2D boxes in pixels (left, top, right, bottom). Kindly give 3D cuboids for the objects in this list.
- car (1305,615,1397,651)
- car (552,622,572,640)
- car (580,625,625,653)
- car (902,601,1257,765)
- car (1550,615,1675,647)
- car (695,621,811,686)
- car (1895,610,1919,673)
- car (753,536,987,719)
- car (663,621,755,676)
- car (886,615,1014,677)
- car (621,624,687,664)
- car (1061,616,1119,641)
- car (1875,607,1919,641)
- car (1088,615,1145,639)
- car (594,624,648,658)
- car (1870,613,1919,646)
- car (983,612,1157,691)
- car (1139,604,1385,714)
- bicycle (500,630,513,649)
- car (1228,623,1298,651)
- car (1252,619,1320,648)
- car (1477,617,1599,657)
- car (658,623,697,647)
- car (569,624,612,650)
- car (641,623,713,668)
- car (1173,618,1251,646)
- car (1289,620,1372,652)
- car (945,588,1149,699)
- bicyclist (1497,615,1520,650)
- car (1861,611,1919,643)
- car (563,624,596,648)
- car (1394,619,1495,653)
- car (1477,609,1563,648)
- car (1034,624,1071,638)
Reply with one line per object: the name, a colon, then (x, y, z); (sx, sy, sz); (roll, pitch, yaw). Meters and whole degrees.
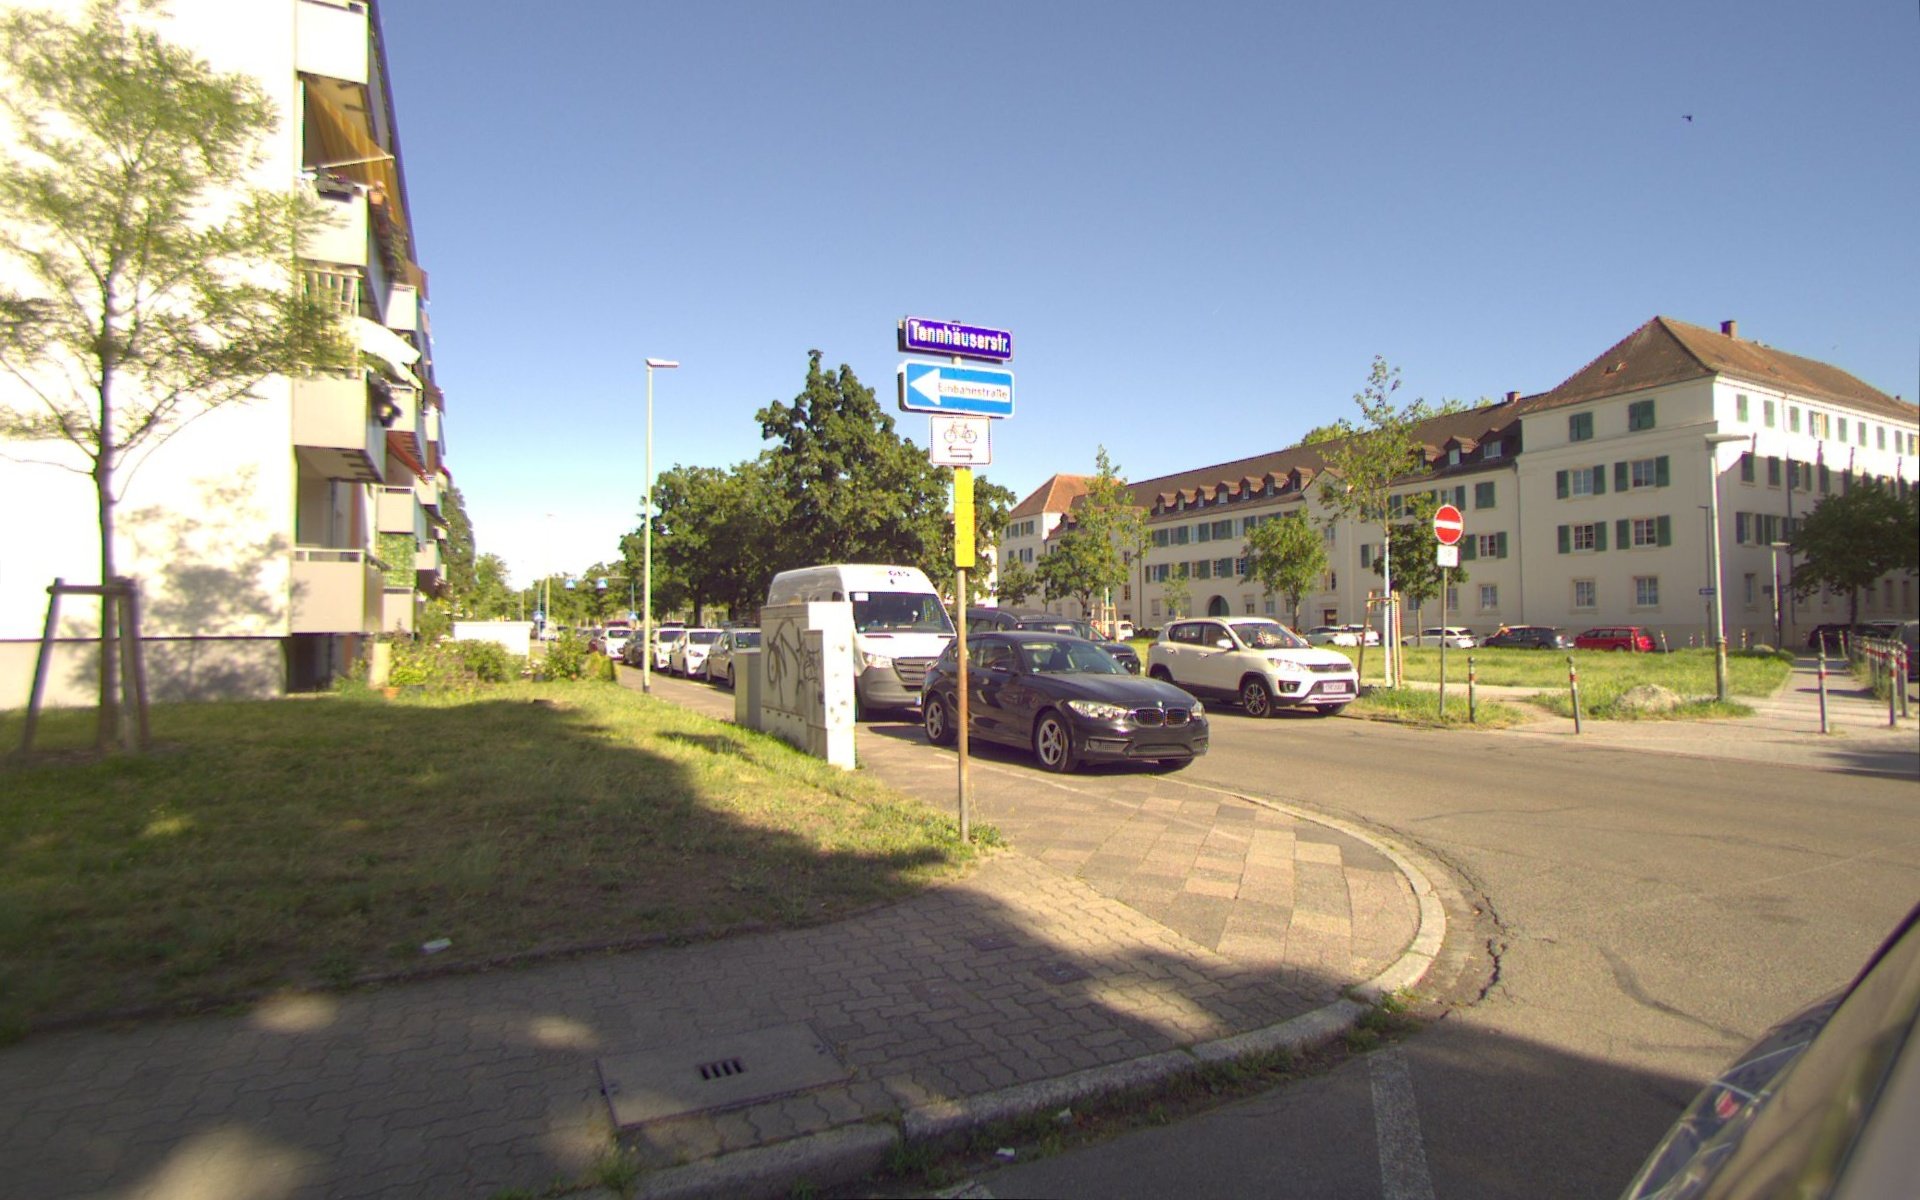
car: (25.634, 2.142, 66.553); (2.487, 2.245, 5.263); (0, -2, -28)
car: (-42.978, 3.331, 109.187); (1.752, 1.935, 4.633); (0, -2, -25)
car: (-20.402, 2.171, 57.636); (1.811, 1.492, 5.071); (0, -1, -27)
car: (1.117, 0.844, 11.749); (1.924, 1.501, 4.504); (2, -2, -27)
car: (32.916, 1.559, 51.217); (1.959, 1.504, 4.964); (1, -2, -27)
car: (-5.395, 1.324, 25.969); (1.817, 1.485, 4.206); (-1, -1, -27)
car: (26.402, 1.088, 26.928); (1.919, 1.597, 4.285); (-2, -2, 39)
car: (-1.967, 0.527, 18.790); (2.105, 2.748, 6.851); (2, -2, -25)
car: (-7.547, 1.395, 30.142); (1.845, 1.494, 4.145); (0, -2, -26)
car: (-0.387, 1.280, 29.085); (1.788, 1.631, 4.745); (2, -2, -26)
car: (-12.130, 1.709, 39.940); (1.670, 1.454, 4.476); (2, -2, -27)
car: (10.764, 2.334, 84.081); (2.182, 2.010, 5.264); (0, -2, -26)
car: (49.389, 1.206, 51.187); (1.672, 1.723, 4.246); (0, -2, -29)
car: (13.821, 2.387, 89.747); (2.182, 2.010, 5.263); (0, -2, -28)
car: (-16.001, 1.879, 47.612); (1.718, 1.518, 3.864); (1, -2, -29)
car: (45.577, 1.360, 47.641); (1.678, 1.541, 3.671); (0, -2, -27)
car: (2.419, 1.152, 23.673); (1.810, 1.660, 4.721); (2, -2, -26)
car: (5.095, 0.978, 17.717); (1.725, 1.668, 4.293); (2, -2, -25)
bicycle: (-26.303, 2.265, 58.660); (0.707, 1.091, 1.899); (0, -1, -25)
car: (19.692, 2.380, 65.902); (2.277, 1.773, 4.014); (0, -2, -25)
car: (22.993, 2.370, 71.552); (2.224, 1.929, 4.171); (0, -2, -27)
car: (27.946, 1.759, 49.094); (2.121, 1.844, 4.710); (0, -2, -28)
car: (-18.583, 2.272, 66.478); (1.847, 1.437, 3.809); (1, -1, -25)
car: (-22.958, 2.260, 62.763); (1.841, 1.553, 4.497); (0, -2, -29)
car: (-9.834, 1.536, 35.014); (1.691, 1.454, 4.158); (1, -2, -26)
car: (17.455, 2.234, 70.456); (2.407, 1.844, 5.461); (0, -1, -25)
car: (22.214, 2.128, 60.807); (2.197, 1.844, 4.262); (0, -2, -28)
car: (1.466, 0.771, 18.783); (1.865, 1.813, 4.161); (0, -2, -27)
bicyclist: (29.410, 1.727, 54.227); (0.661, 1.826, 0.802); (0, -2, -27)
car: (47.400, 1.321, 50.255); (1.674, 1.540, 3.618); (0, -2, -30)
car: (-25.365, 2.380, 67.413); (1.739, 1.549, 4.564); (0, -1, -25)
car: (28.619, 2.090, 60.011); (2.116, 1.910, 5.165); (0, -2, -26)
car: (30.752, 1.541, 55.710); (1.636, 2.039, 3.902); (0, -1, -27)
car: (9.074, 3.023, 99.150); (1.738, 1.374, 4.005); (0, -2, -27)
